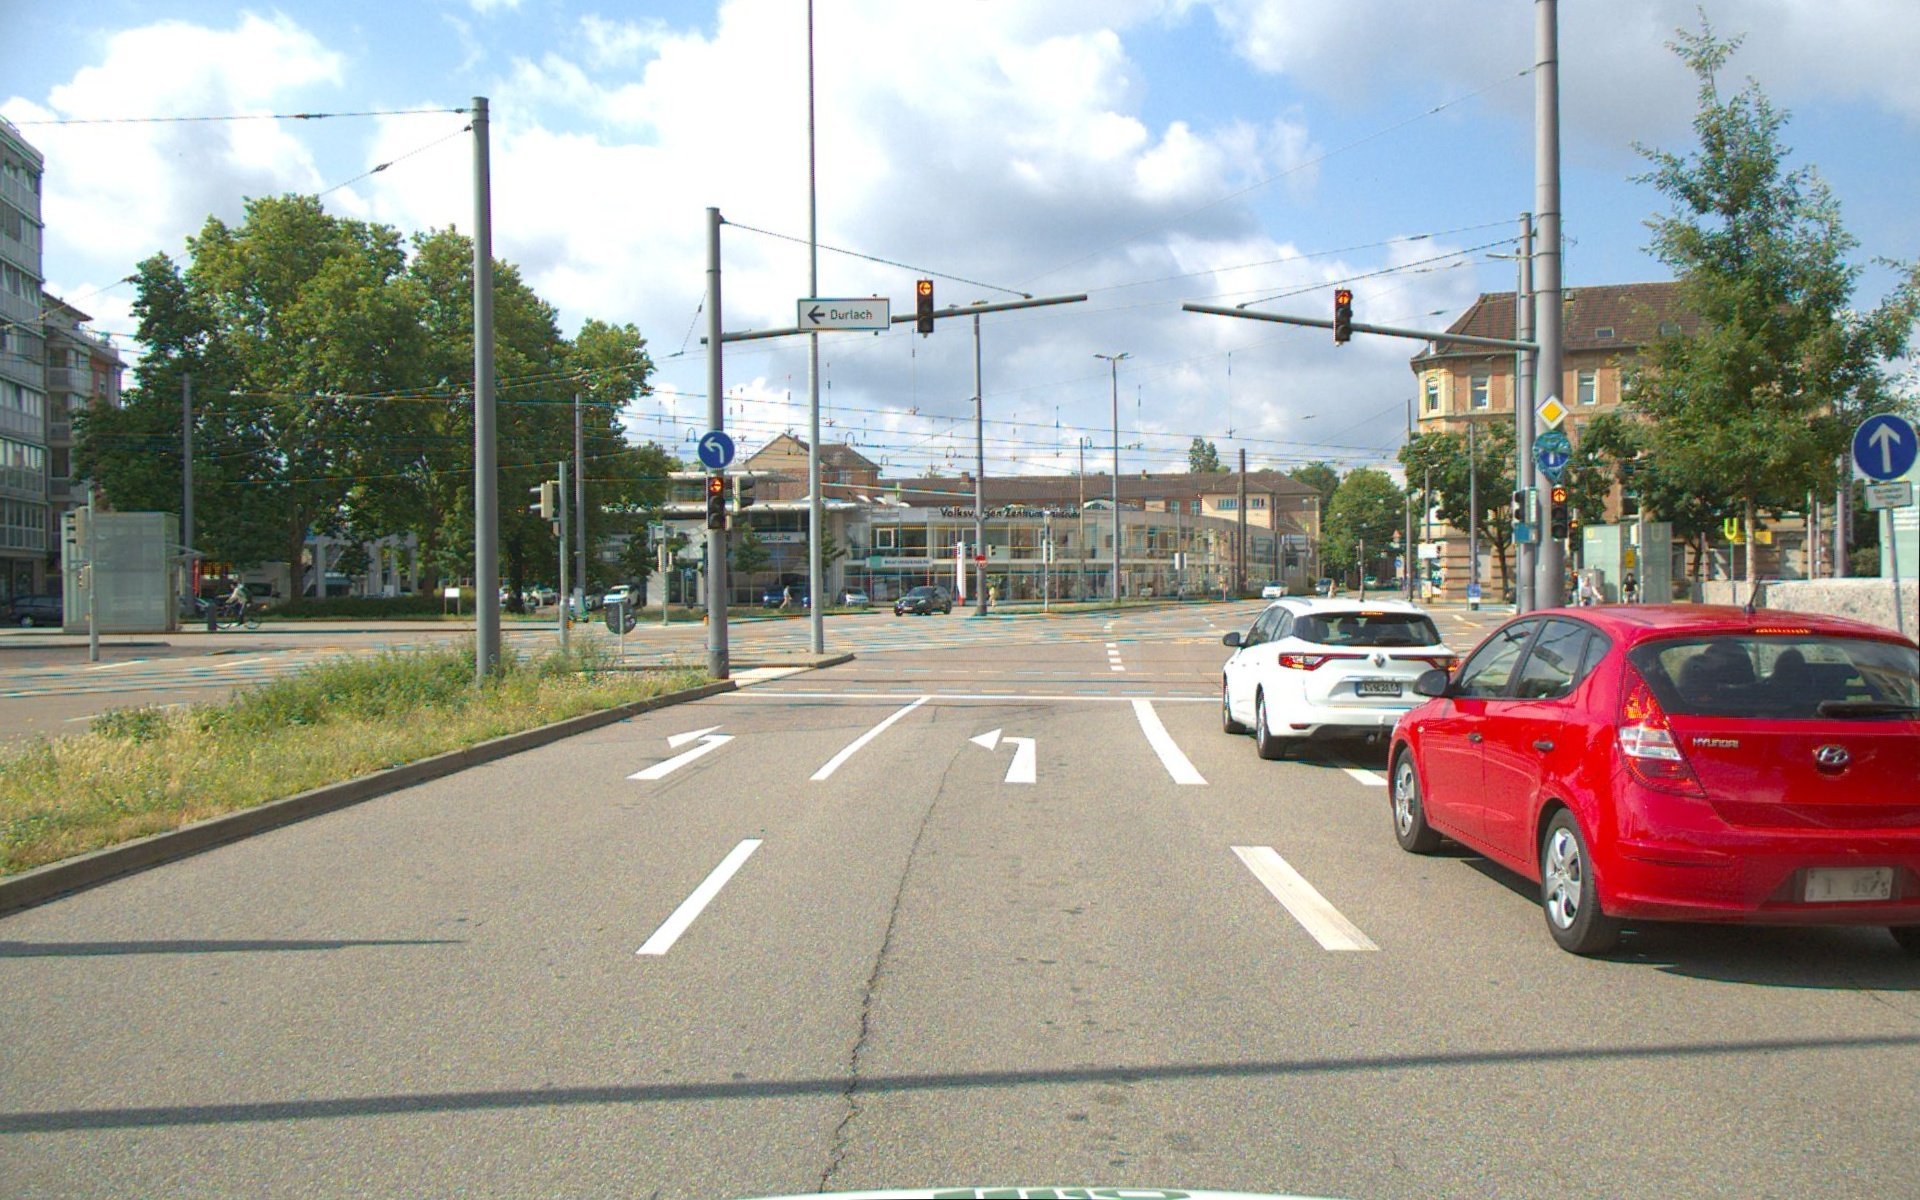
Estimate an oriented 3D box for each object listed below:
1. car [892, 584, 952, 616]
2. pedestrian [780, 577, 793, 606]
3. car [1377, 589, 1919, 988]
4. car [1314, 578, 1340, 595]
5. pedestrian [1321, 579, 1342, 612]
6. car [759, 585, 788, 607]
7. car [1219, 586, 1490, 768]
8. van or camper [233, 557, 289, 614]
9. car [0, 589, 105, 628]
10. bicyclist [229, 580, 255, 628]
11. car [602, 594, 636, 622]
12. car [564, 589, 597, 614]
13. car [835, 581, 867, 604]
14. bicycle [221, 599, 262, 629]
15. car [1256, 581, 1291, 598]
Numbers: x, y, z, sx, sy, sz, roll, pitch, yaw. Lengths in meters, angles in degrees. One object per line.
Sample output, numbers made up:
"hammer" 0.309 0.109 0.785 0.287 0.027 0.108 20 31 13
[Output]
"car" -1.901 -0.025 83.565 1.951 1.556 4.003 0 1 15
"pedestrian" -12.323 -0.608 117.384 0.864 1.982 0.887 -1 0 -6
"car" 3.470 0.702 8.315 1.779 1.464 4.068 0 1 1
"car" 36.162 -1.314 162.802 1.952 1.601 4.001 0 1 20
"pedestrian" 17.567 -0.207 78.236 0.668 1.562 0.665 -1 0 -38
"car" -13.385 -0.283 119.044 1.955 1.579 4.074 0 0 -5
"car" 3.651 0.630 16.073 1.809 1.498 4.337 -1 0 3
"van or camper" -37.498 -0.793 88.860 2.544 2.959 6.061 -1 0 -21
"car" -40.284 0.356 73.313 3.926 1.691 1.989 0 0 -19
"bicyclist" -28.450 0.159 65.580 0.872 1.903 0.759 -1 0 -20
"car" -25.089 0.571 121.849 1.954 2.049 3.996 -1 0 -4
"car" -27.960 0.068 121.943 1.762 1.800 3.996 -1 0 -4
"car" -8.029 -0.564 121.519 1.957 1.624 3.991 0 0 -10
"bicycle" -28.479 0.556 65.581 1.443 1.136 0.584 -1 0 -21
"car" 26.741 -0.902 141.070 1.954 1.467 3.997 0 1 25
